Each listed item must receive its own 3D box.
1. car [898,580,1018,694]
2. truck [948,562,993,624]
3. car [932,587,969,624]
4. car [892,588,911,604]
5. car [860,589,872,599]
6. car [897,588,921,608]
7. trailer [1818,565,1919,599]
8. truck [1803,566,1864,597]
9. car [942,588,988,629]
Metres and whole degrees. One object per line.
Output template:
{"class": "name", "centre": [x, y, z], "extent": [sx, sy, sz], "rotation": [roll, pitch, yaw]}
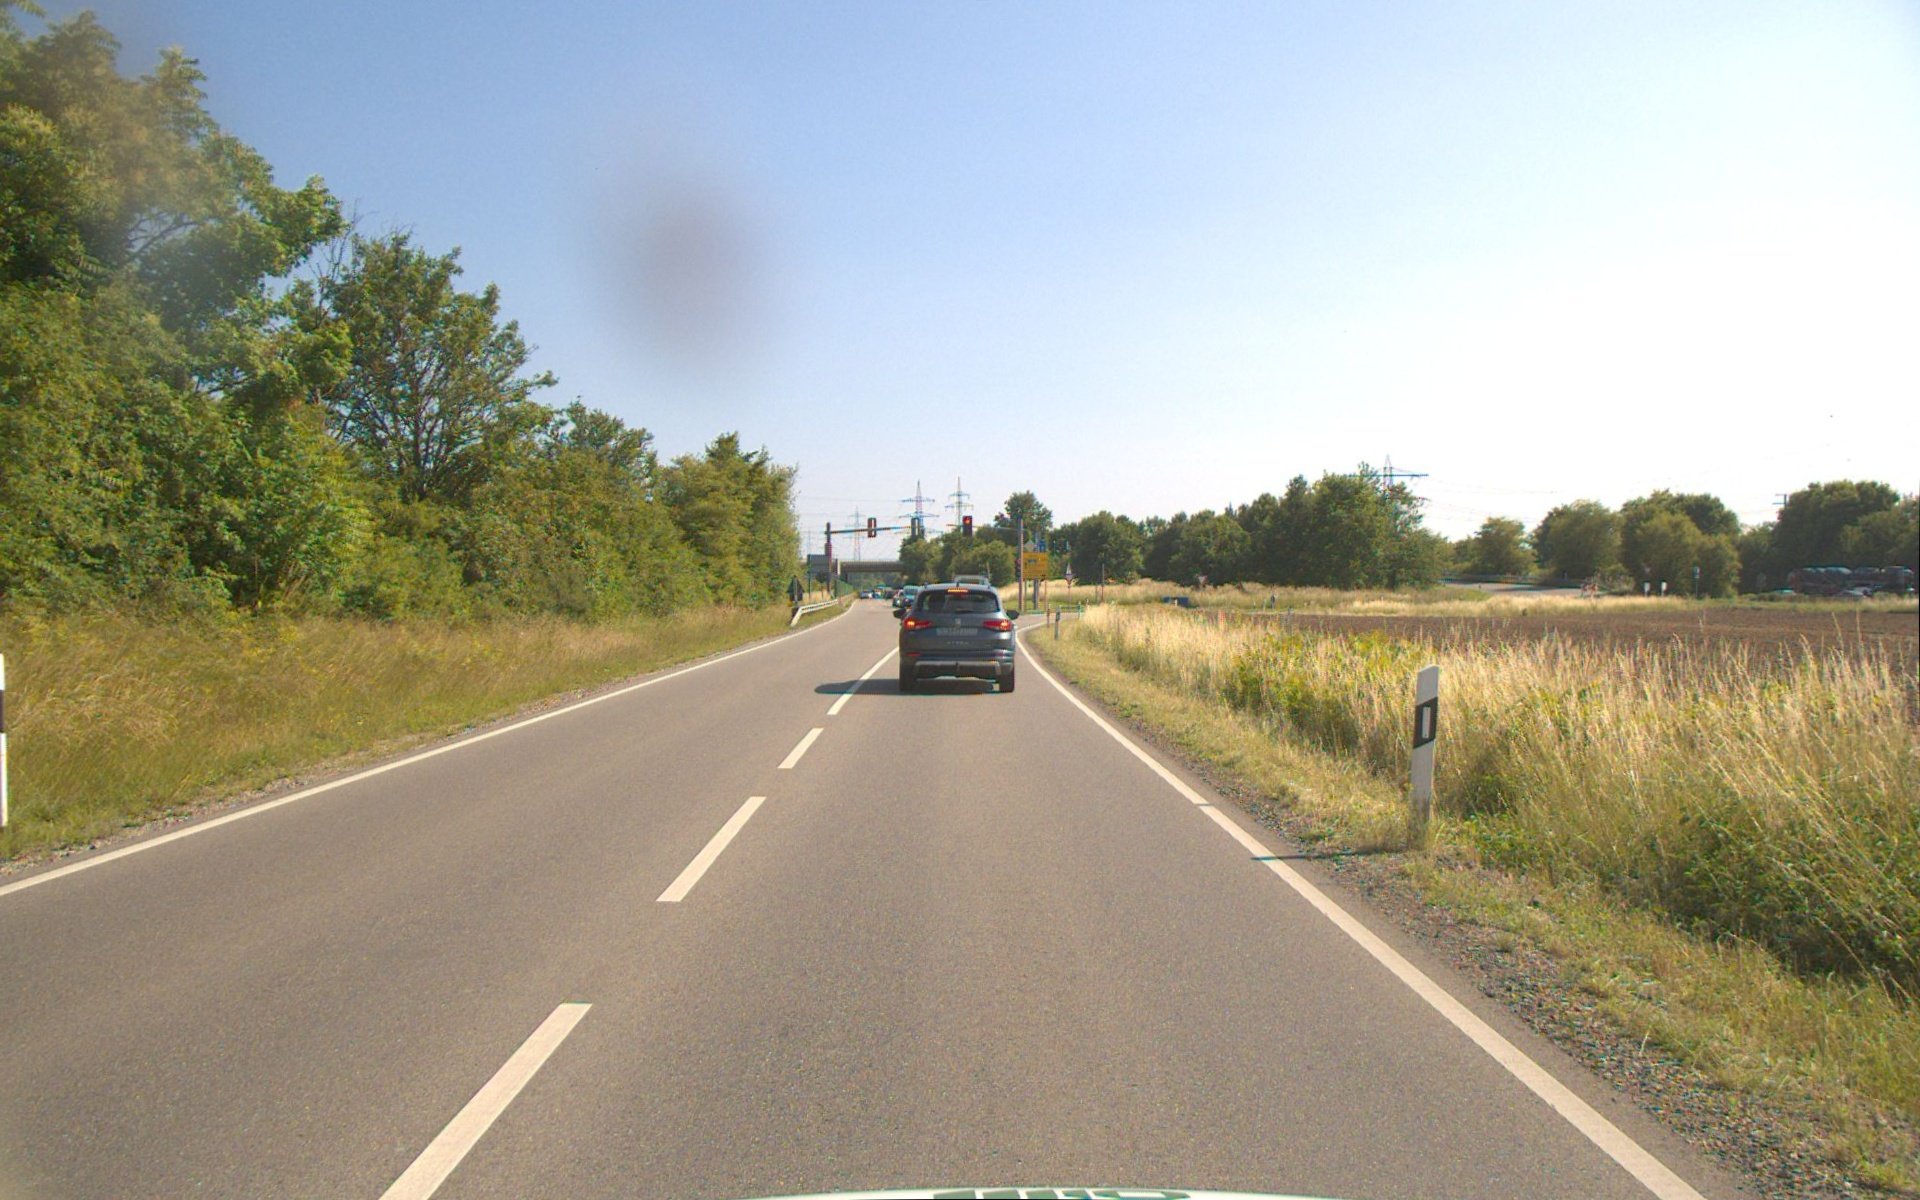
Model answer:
{"class": "car", "centre": [-0.054, 0.507, 26.030], "extent": [1.749, 1.657, 4.000], "rotation": [0, 1, -1]}
{"class": "truck", "centre": [0.554, -0.346, 87.719], "extent": [2.289, 3.120, 5.809], "rotation": [1, 0, 0]}
{"class": "car", "centre": [-0.489, 0.230, 79.634], "extent": [1.749, 1.705, 3.999], "rotation": [0, 1, -1]}
{"class": "car", "centre": [-5.409, -0.403, 152.861], "extent": [1.651, 1.404, 3.530], "rotation": [1, 1, -4]}
{"class": "car", "centre": [-14.488, -0.970, 254.966], "extent": [1.788, 1.456, 3.996], "rotation": [0, 1, -5]}
{"class": "car", "centre": [-4.115, -0.169, 132.576], "extent": [1.780, 1.567, 3.997], "rotation": [0, 1, -4]}
{"class": "trailer", "centre": [95.282, -1.920, 173.602], "extent": [3.218, 3.324, 13.449], "rotation": [0, 1, -2]}
{"class": "truck", "centre": [95.102, -2.019, 180.163], "extent": [3.218, 3.324, 6.427], "rotation": [0, 1, -2]}
{"class": "car", "centre": [0.171, 0.303, 66.548], "extent": [1.749, 1.570, 3.999], "rotation": [0, 1, -1]}
